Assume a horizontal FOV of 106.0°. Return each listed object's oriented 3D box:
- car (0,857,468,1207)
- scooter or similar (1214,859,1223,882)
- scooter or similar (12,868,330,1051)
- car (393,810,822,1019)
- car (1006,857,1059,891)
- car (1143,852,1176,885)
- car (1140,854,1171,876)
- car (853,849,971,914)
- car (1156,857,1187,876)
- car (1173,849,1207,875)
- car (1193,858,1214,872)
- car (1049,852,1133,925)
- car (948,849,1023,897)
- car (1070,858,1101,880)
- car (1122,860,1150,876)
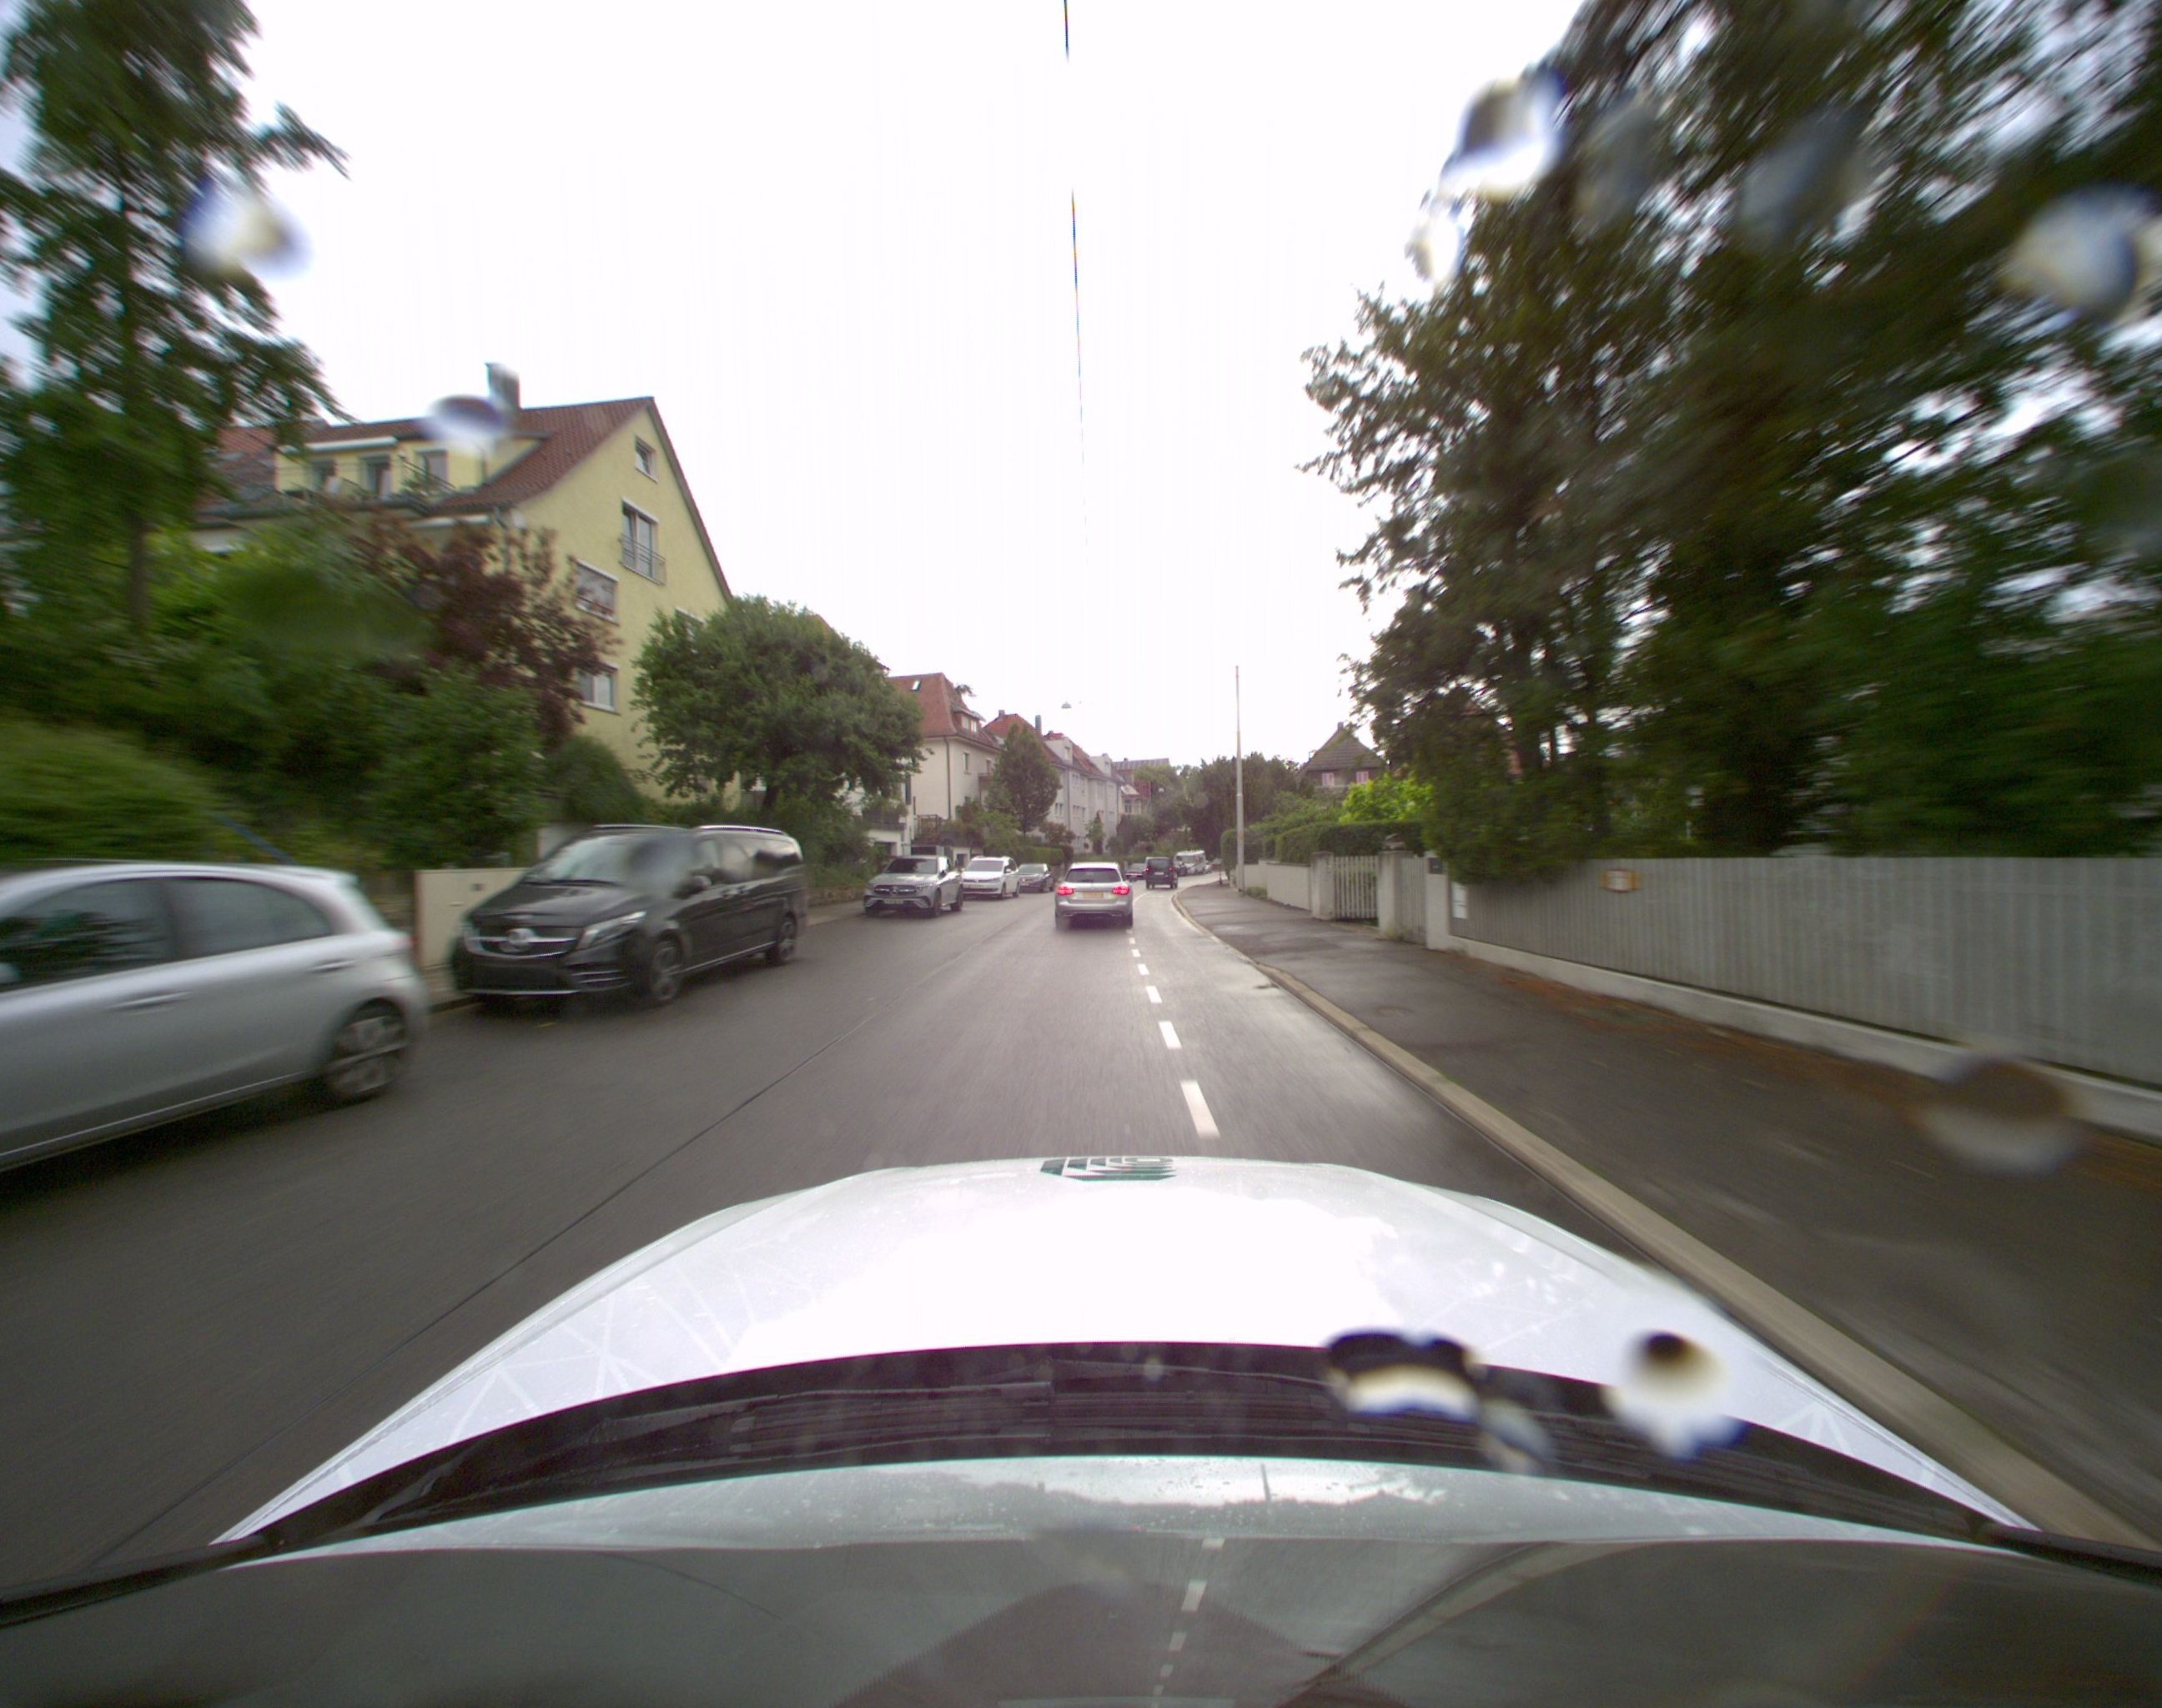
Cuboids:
[{"bbox_3d":[-5.290,0.743,3.937,1.688,1.447,3.815,0,0,2],"label":"car"},{"bbox_3d":[7.947,0.973,47.118,0.447,1.307,1.486,-2,-2,11],"label":"scooter or similar"},{"bbox_3d":[-7.574,0.794,6.949,0.499,1.256,1.919,0,2,1],"label":"scooter or similar"},{"bbox_3d":[-5.167,0.543,10.097,1.986,1.878,5.359,1,0,2],"label":"car"},{"bbox_3d":[-2.409,0.951,41.350,1.782,1.580,4.148,2,0,8],"label":"car"},{"bbox_3d":[4.741,0.864,48.880,1.833,1.904,4.008,0,-1,8],"label":"car"},{"bbox_3d":[7.218,1.046,78.460,1.814,2.056,5.033,0,-1,18],"label":"car"},{"bbox_3d":[-4.586,0.691,22.913,1.985,1.580,4.766,2,0,4],"label":"car"},{"bbox_3d":[9.460,1.268,84.937,1.976,1.688,4.702,0,2,22],"label":"car"},{"bbox_3d":[12.402,0.845,92.107,2.370,2.772,6.566,0,1,21],"label":"car"},{"bbox_3d":[14.641,1.300,97.184,1.698,1.447,3.272,0,2,22],"label":"car"},{"bbox_3d":[0.291,0.739,19.605,1.809,1.556,4.002,0,0,2],"label":"car"},{"bbox_3d":[-3.748,0.717,32.966,1.984,1.702,4.746,2,0,6],"label":"car"},{"bbox_3d":[0.376,1.054,56.723,1.595,1.486,3.496,0,-1,10],"label":"car"},{"bbox_3d":[4.971,1.239,73.361,1.631,1.417,4.632,0,0,16],"label":"car"}]
